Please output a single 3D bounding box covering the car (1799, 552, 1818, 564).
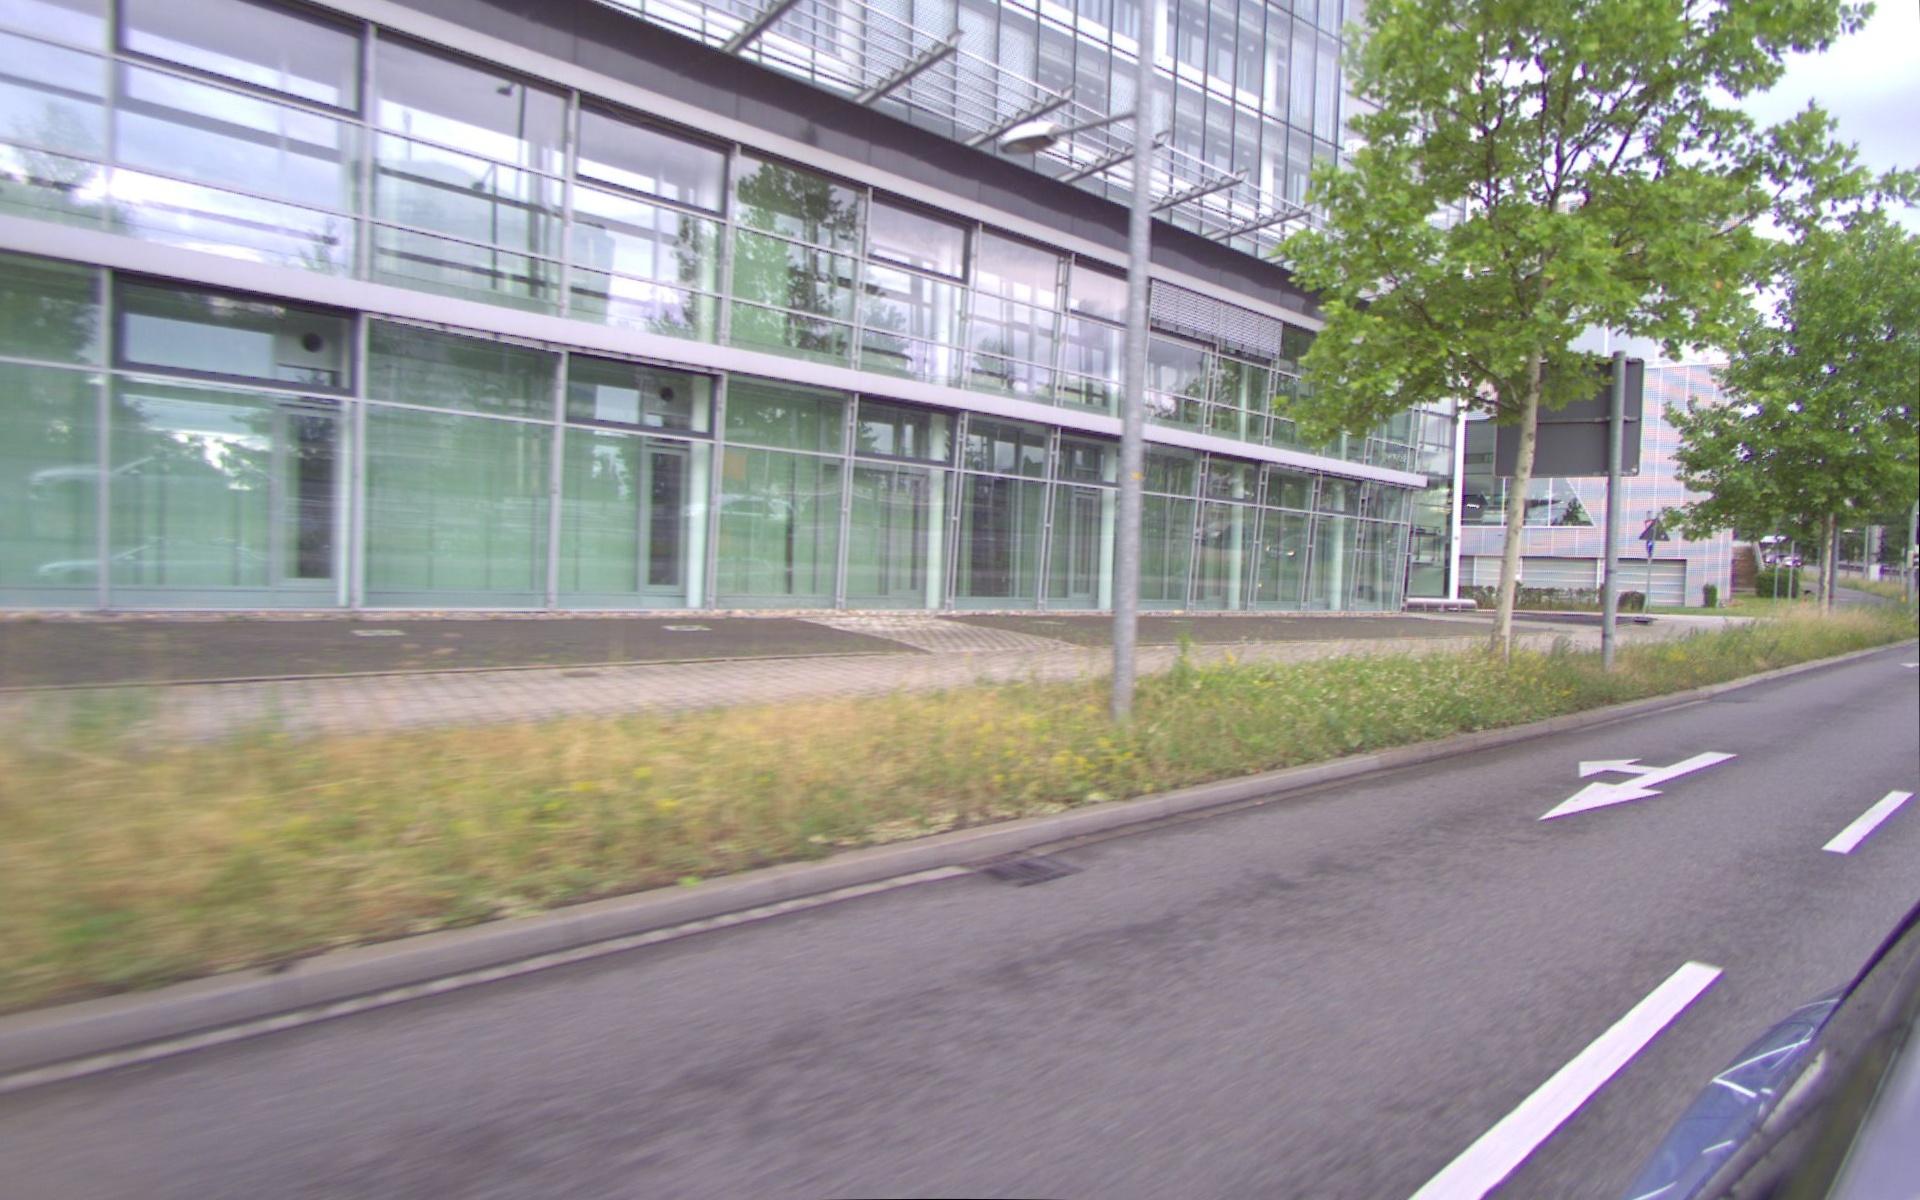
[{"bbox_3d":[131.764,-6.579,157.230,1.817,1.732,4.103,0,1,34],"label":"car"}]
